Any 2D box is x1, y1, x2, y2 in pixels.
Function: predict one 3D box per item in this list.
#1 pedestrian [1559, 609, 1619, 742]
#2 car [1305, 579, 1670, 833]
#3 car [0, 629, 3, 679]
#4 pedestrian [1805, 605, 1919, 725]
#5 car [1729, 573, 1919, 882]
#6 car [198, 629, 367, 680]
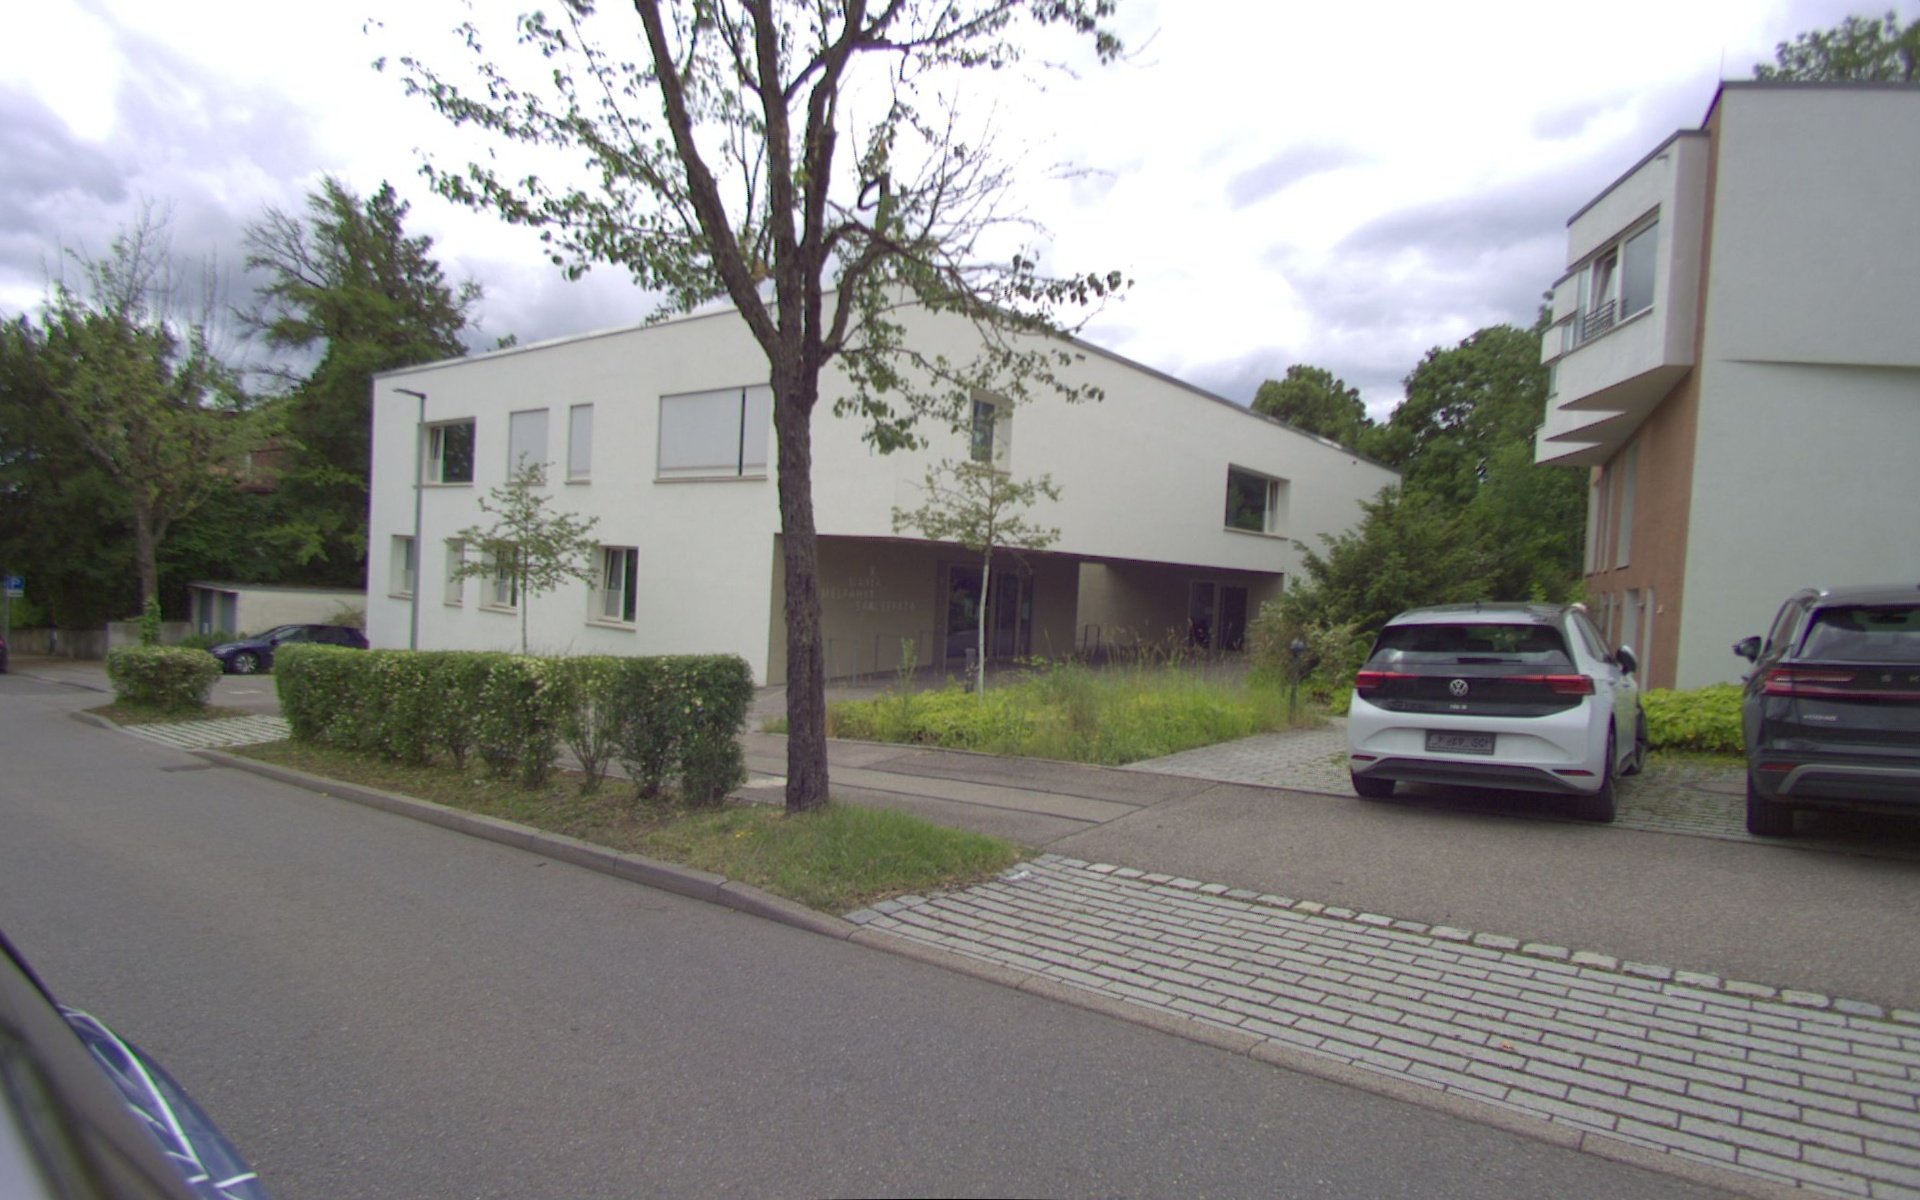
[{"bbox_3d":[8.089,0.948,13.021,0.565,1.653,0.587,-1,-3,40],"label":"pedestrian"},{"bbox_3d":[4.712,0.742,8.676,2.063,1.578,4.345,-1,-3,37],"label":"car"},{"bbox_3d":[-30.737,1.608,30.641,4.676,1.481,1.833,-1,-3,38],"label":"car"},{"bbox_3d":[10.174,0.705,11.447,0.898,1.293,0.601,-1,-1,39],"label":"pedestrian"},{"bbox_3d":[6.576,0.699,6.847,2.007,1.666,3.947,-1,-1,40],"label":"car"},{"bbox_3d":[-19.633,1.530,29.431,1.740,1.364,3.755,-1,-2,40],"label":"car"}]
